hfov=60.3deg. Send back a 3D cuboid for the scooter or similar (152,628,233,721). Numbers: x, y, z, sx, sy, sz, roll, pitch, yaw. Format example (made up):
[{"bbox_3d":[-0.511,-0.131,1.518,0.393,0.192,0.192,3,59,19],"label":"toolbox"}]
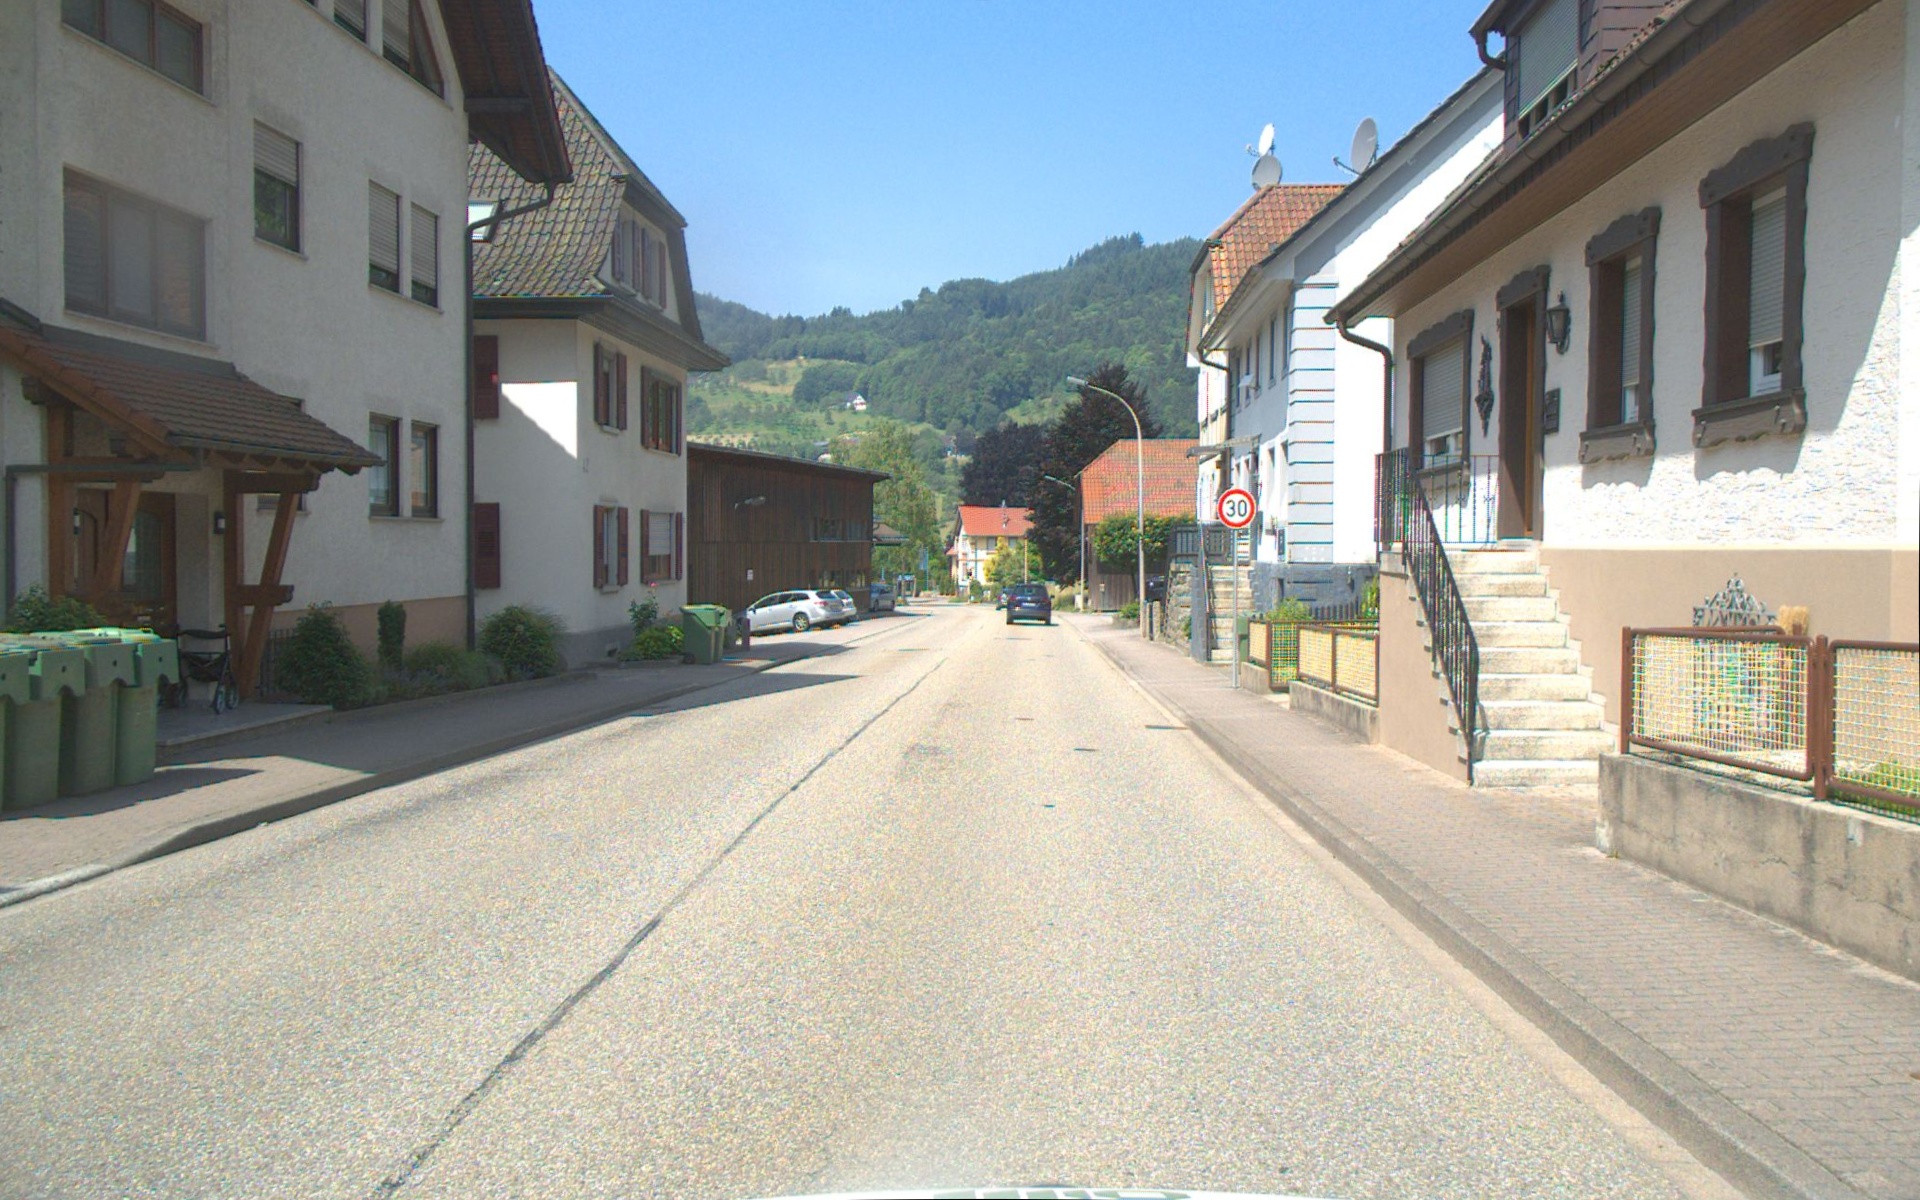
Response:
[{"bbox_3d":[-7.195,0.691,15.516,0.495,0.840,0.537,0,1,1],"label":"scooter or similar"}]

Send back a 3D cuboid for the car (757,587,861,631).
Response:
[{"bbox_3d":[-5.866,0.343,64.523,3.582,1.409,1.712,-4,-1,17],"label":"car"}]

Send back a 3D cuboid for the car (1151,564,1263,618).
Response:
[{"bbox_3d":[9.570,-0.337,64.371,4.132,1.716,1.778,-5,0,5],"label":"car"}]

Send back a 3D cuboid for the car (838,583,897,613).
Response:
[{"bbox_3d":[-4.897,-0.112,88.072,1.692,1.479,4.808,1,2,16],"label":"car"}]

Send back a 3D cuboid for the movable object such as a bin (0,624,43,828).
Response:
[{"bbox_3d":[-6.060,0.763,9.945,0.703,1.202,0.598,-2,0,3],"label":"movable object such as a bin"}]

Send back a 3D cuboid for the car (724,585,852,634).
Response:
[{"bbox_3d":[-6.398,0.367,61.587,4.344,1.500,1.922,-4,0,28],"label":"car"}]

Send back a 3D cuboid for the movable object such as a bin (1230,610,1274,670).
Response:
[{"bbox_3d":[5.148,0.705,29.163,0.690,1.038,0.618,0,0,3],"label":"movable object such as a bin"}]

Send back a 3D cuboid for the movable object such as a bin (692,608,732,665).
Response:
[{"bbox_3d":[-4.775,0.695,31.884,0.662,1.085,0.621,0,0,0],"label":"movable object such as a bin"}]

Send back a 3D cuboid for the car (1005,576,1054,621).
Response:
[{"bbox_3d":[2.761,-0.065,66.741,1.880,1.728,3.789,-1,0,1],"label":"car"}]

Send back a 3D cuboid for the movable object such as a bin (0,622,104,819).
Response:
[{"bbox_3d":[-6.022,0.762,10.604,0.703,1.202,0.598,-2,0,3],"label":"movable object such as a bin"}]

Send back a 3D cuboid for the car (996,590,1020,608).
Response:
[{"bbox_3d":[3.296,-0.065,113.033,1.447,1.230,2.383,-1,0,-3],"label":"car"}]

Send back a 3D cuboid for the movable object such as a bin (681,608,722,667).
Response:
[{"bbox_3d":[-4.862,0.701,31.158,0.662,1.085,0.653,0,0,0],"label":"movable object such as a bin"}]

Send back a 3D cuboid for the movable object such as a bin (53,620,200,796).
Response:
[{"bbox_3d":[-5.989,0.761,11.913,0.703,1.202,0.598,-2,0,3],"label":"movable object such as a bin"}]

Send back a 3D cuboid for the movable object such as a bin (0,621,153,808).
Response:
[{"bbox_3d":[-6.013,0.761,11.256,0.703,1.202,0.598,-2,0,3],"label":"movable object such as a bin"}]
